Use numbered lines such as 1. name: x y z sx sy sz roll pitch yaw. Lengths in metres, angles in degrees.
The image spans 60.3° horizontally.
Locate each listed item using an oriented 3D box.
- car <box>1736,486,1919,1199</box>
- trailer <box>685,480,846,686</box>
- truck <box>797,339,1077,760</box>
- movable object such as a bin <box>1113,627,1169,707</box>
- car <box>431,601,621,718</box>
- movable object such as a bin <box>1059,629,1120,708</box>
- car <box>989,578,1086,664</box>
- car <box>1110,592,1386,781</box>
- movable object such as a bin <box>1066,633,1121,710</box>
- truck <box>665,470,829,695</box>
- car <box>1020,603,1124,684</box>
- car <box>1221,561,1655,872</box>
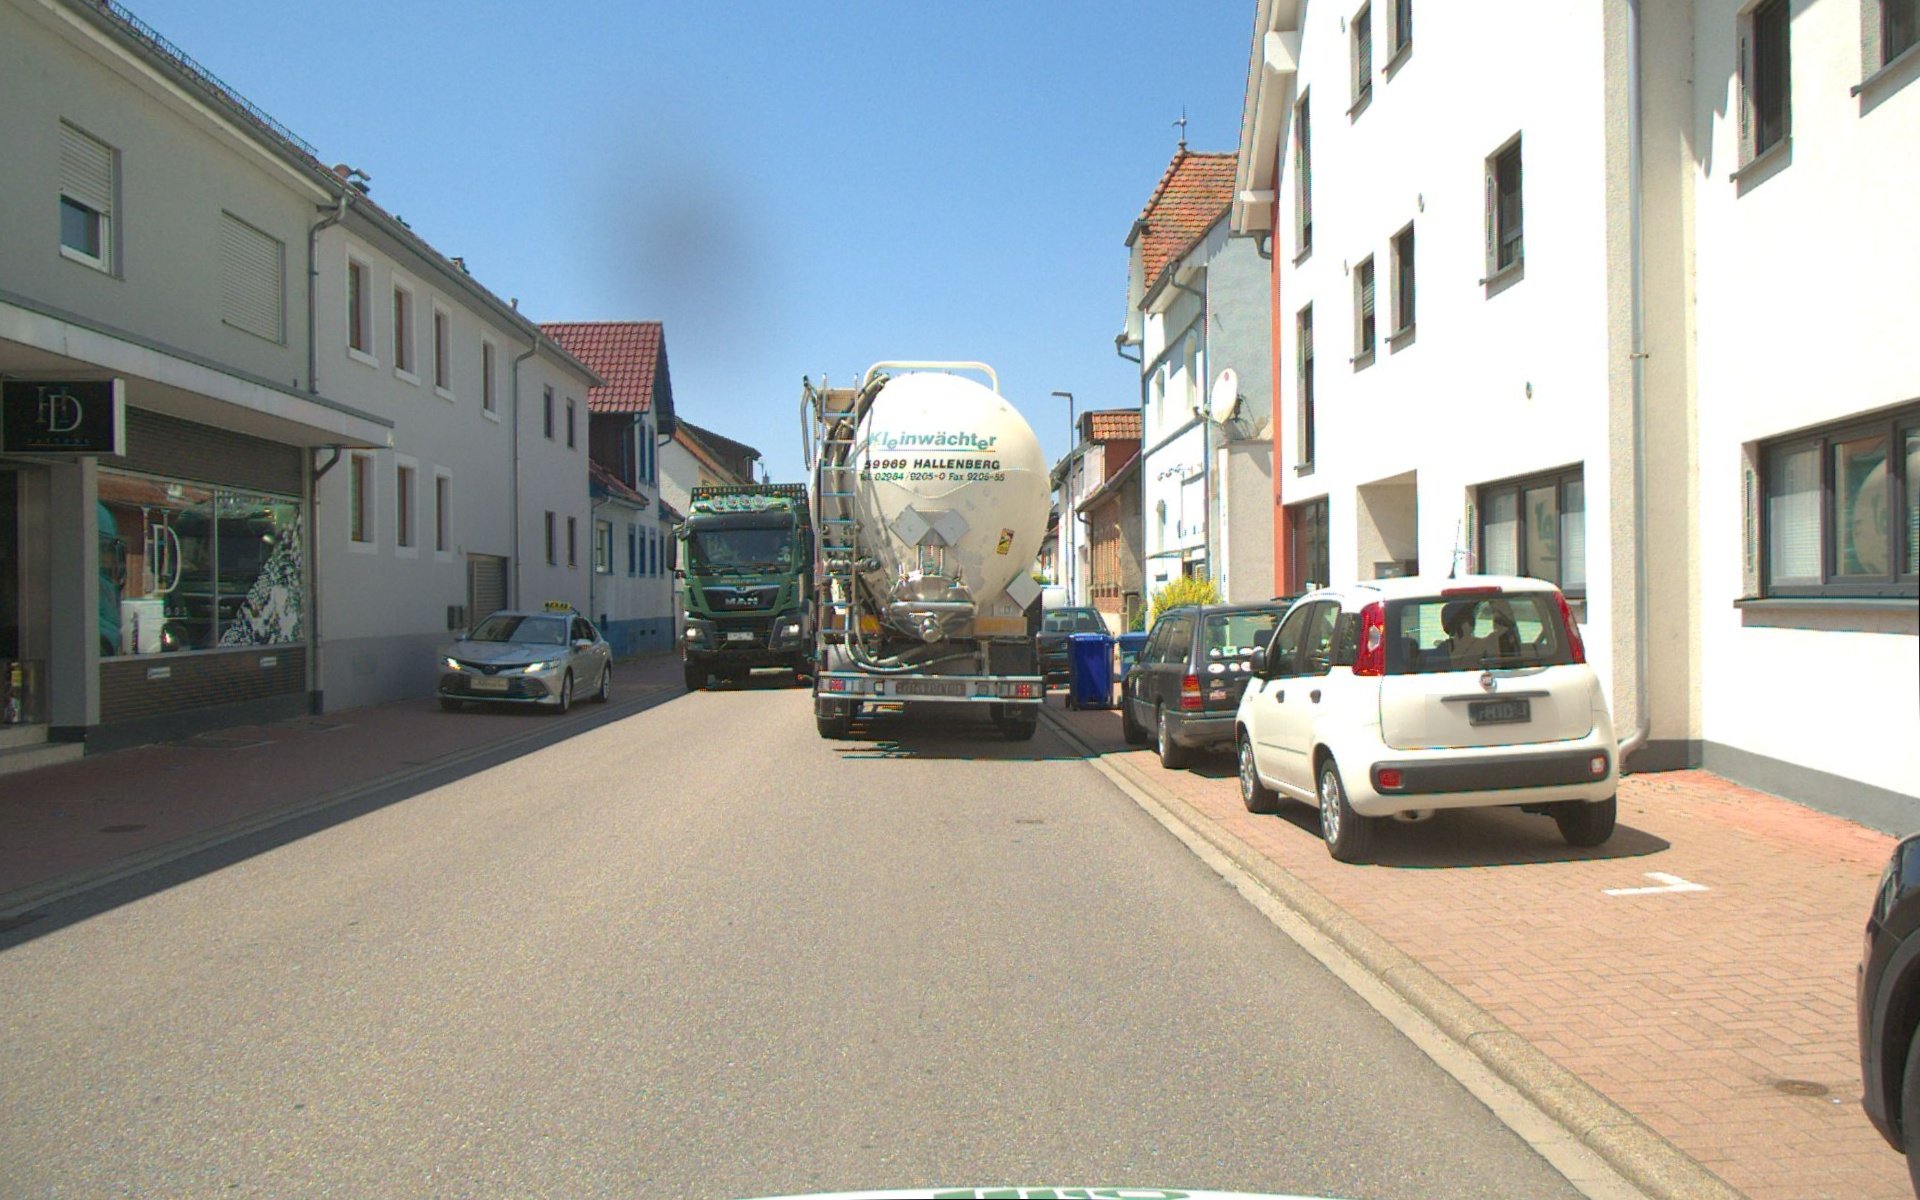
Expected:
1. car: 2.966 0.558 2.011 1.766 1.642 4.547 -3 1 -2
2. trailer: -4.449 -0.310 41.142 2.578 4.048 15.691 -2 0 -2
3. truck: -0.313 -0.452 20.000 2.677 4.029 8.139 0 -1 -1
4. movable object such as a bin: 2.592 0.948 23.584 0.640 1.078 0.836 -3 0 14
5. car: -6.515 0.842 25.335 1.771 1.584 4.563 2 0 -1
6. movable object such as a bin: 1.919 0.998 24.452 0.707 1.092 0.973 -3 0 14
7. car: 1.891 0.509 41.804 1.907 2.005 4.781 -1 0 -3
8. car: 2.617 0.723 16.171 1.666 1.472 4.835 -3 0 -2
9. movable object such as a bin: 1.915 1.016 23.663 0.641 1.053 0.685 -3 0 14
10. truck: -4.201 -0.315 33.946 2.566 4.055 6.849 -2 0 -2
11. car: 2.218 0.834 33.793 1.734 1.491 4.577 -1 0 -1
12. car: 2.805 0.617 10.500 1.574 1.548 3.544 -3 0 -2
